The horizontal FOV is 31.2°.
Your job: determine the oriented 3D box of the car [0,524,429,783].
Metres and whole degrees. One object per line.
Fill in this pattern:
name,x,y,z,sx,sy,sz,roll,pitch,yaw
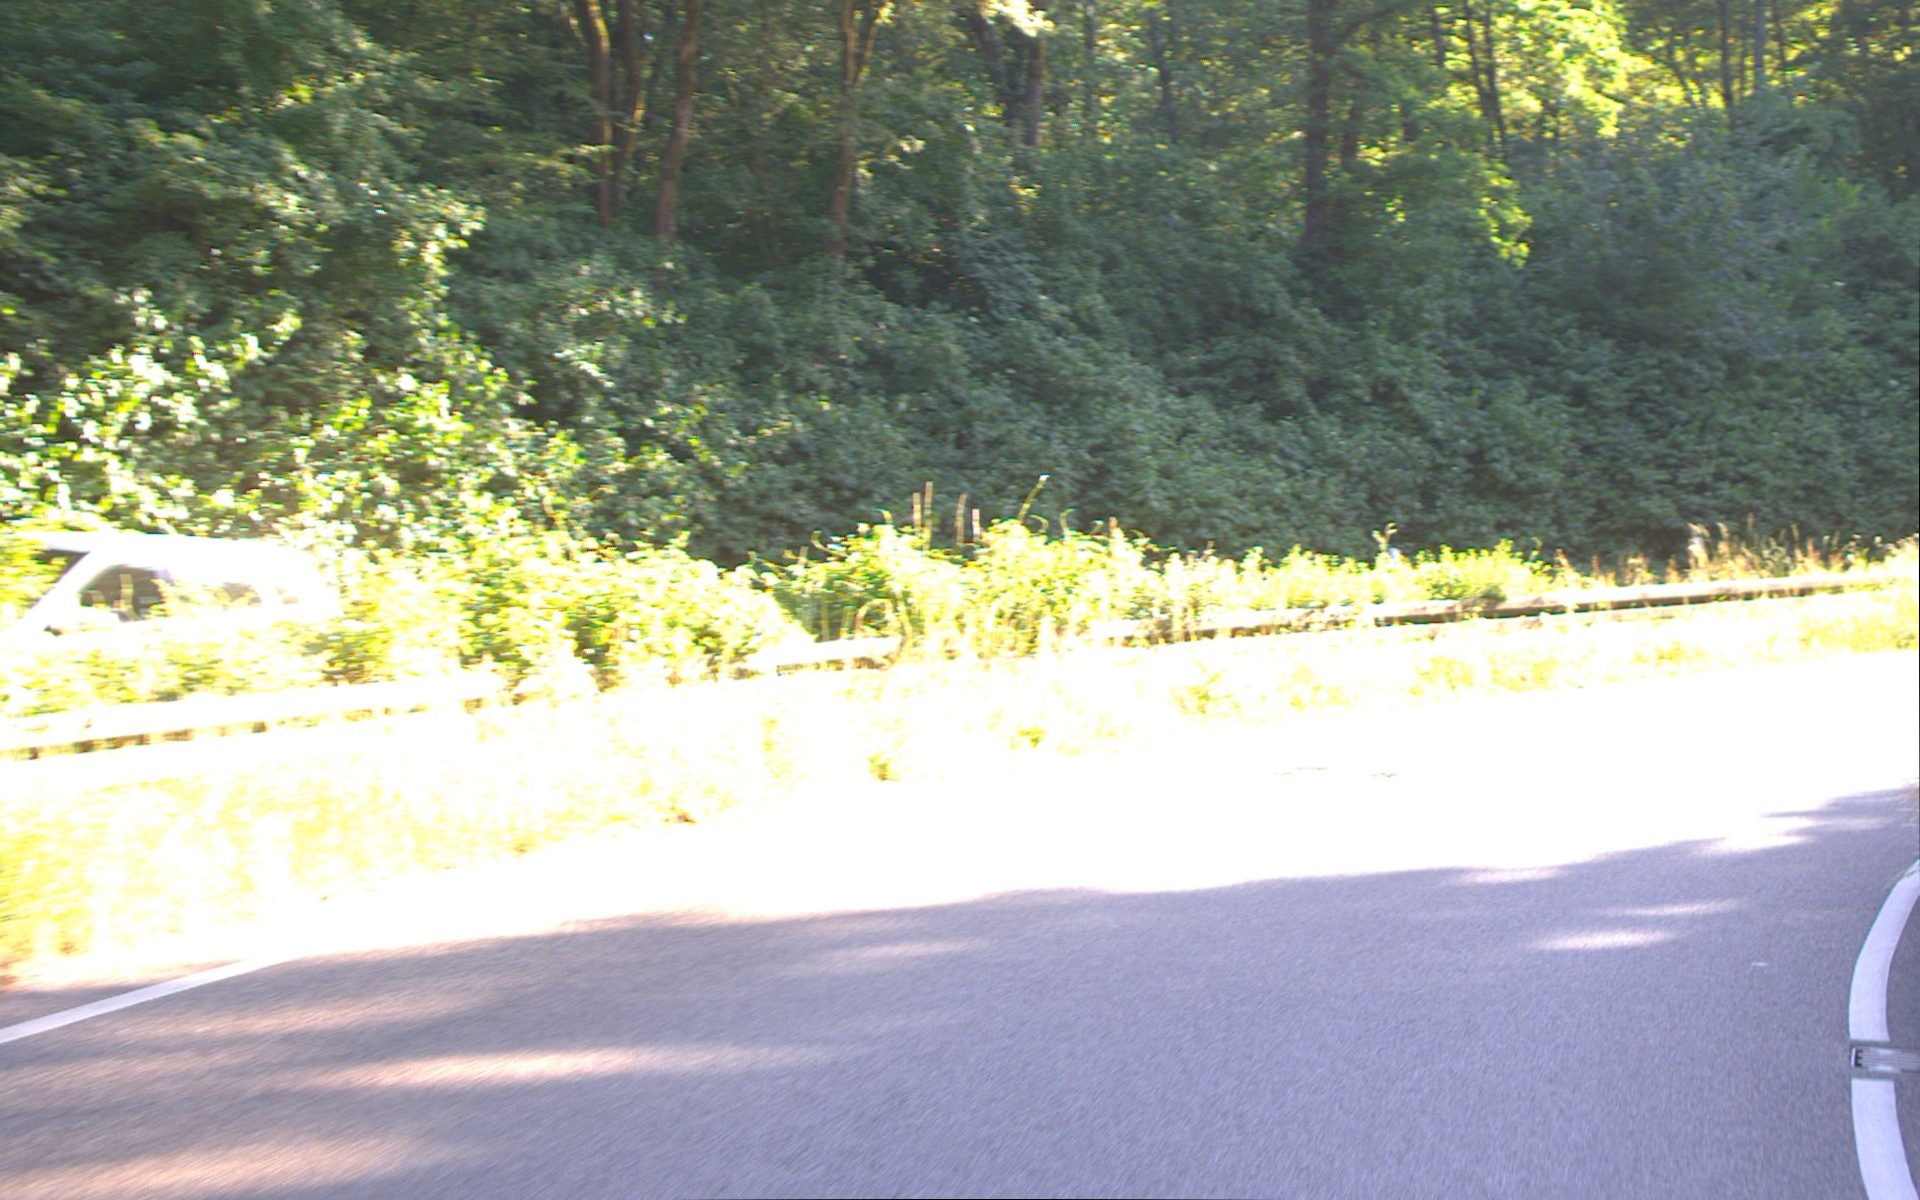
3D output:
car,-5.295,0.274,22.032,1.723,1.482,3.994,0,1,27
